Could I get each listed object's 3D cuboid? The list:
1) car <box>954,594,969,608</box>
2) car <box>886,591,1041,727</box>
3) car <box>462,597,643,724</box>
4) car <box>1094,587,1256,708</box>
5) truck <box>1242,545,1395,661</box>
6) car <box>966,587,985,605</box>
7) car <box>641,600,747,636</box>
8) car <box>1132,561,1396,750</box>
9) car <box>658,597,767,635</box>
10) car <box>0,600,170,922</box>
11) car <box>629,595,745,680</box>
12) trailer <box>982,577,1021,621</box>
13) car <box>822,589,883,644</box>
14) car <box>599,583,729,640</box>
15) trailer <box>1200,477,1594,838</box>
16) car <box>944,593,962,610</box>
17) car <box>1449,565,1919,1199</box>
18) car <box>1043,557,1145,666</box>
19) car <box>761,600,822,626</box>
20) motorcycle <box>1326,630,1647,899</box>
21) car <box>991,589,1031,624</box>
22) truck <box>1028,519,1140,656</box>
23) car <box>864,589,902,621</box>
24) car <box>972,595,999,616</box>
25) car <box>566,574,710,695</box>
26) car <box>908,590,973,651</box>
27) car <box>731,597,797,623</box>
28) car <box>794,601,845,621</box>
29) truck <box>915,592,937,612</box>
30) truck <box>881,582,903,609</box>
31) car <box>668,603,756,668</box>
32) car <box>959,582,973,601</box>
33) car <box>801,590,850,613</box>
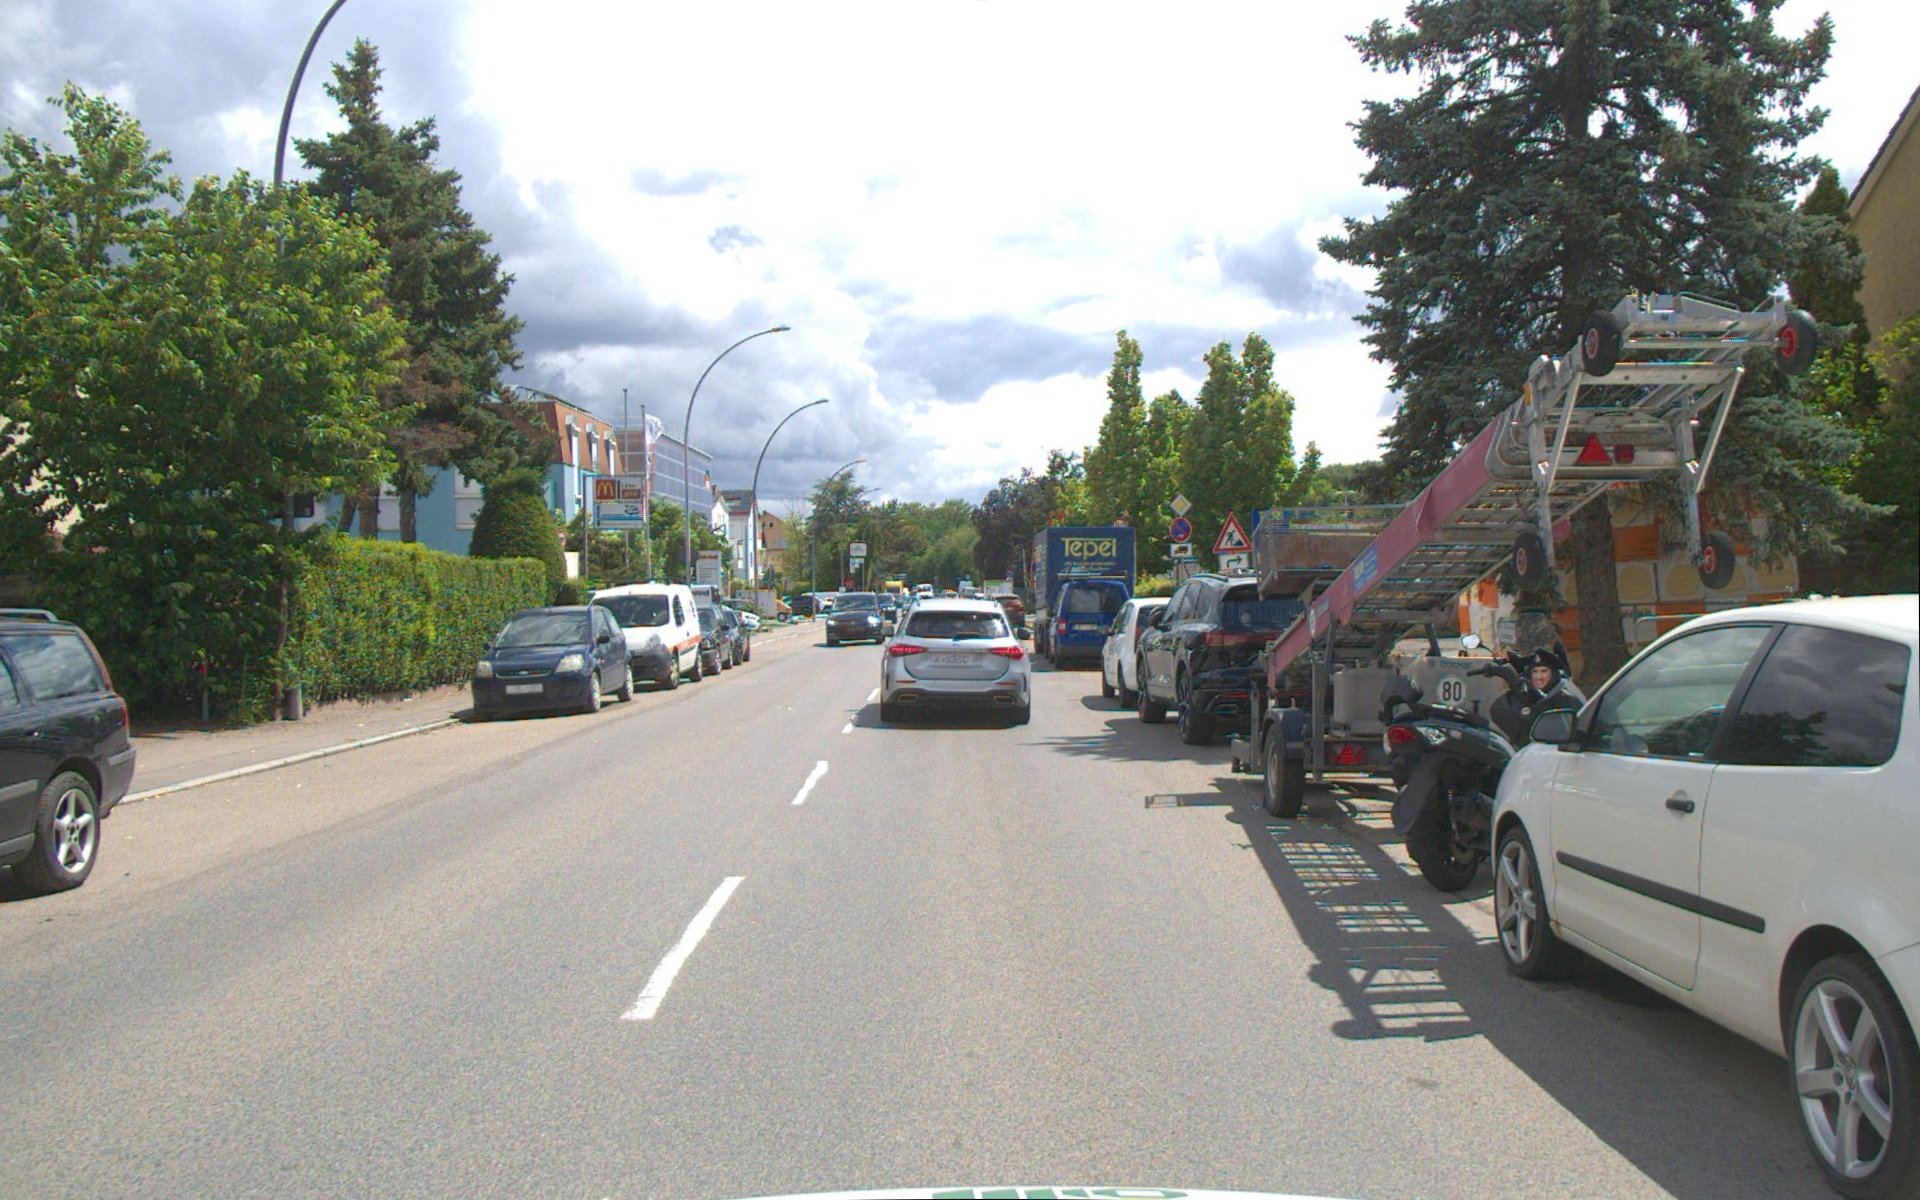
[{"bbox_3d":[0.225,0.175,213.190,1.748,1.745,4.314,0,0,-2],"label":"car"},{"bbox_3d":[-0.040,0.652,20.829,1.748,1.510,4.315,0,1,-2],"label":"car"},{"bbox_3d":[-5.708,0.785,23.626,1.607,1.512,3.999,-4,1,-2],"label":"car"},{"bbox_3d":[3.003,0.608,23.866,1.737,1.534,3.999,-2,1,-1],"label":"car"},{"bbox_3d":[7.374,-0.026,34.585,1.792,2.117,5.385,-4,2,-1],"label":"truck"},{"bbox_3d":[1.774,-0.453,187.999,2.100,2.018,5.261,-1,0,0],"label":"car"},{"bbox_3d":[-10.465,0.710,65.215,3.907,1.338,1.871,-1,0,-2],"label":"car"},{"bbox_3d":[3.168,0.509,18.229,1.836,1.757,4.711,-2,1,-2],"label":"car"},{"bbox_3d":[-10.445,0.685,69.954,4.285,1.504,1.871,-1,-1,0],"label":"car"},{"bbox_3d":[-5.446,0.823,7.363,1.685,1.519,4.734,-2,1,-2],"label":"car"},{"bbox_3d":[-5.687,0.730,34.966,1.709,1.497,4.642,-4,1,-2],"label":"car"},{"bbox_3d":[2.328,-0.065,93.287,1.902,2.334,4.444,-2,0,-2],"label":"trailer"},{"bbox_3d":[-3.385,0.497,52.808,1.708,1.656,4.355,0,1,-1],"label":"car"},{"bbox_3d":[-11.094,0.427,62.297,4.559,2.006,2.114,-1,1,-4],"label":"car"},{"bbox_3d":[3.005,0.330,12.280,1.737,2.182,4.113,-1,1,-1],"label":"trailer"},{"bbox_3d":[-0.704,0.140,169.260,1.720,1.585,3.999,-1,1,-1],"label":"car"},{"bbox_3d":[3.021,0.646,5.455,1.684,1.457,3.984,-3,1,2],"label":"car"},{"bbox_3d":[2.854,0.218,36.122,1.835,2.207,4.464,1,0,0],"label":"car"},{"bbox_3d":[-13.140,0.990,129.136,4.536,1.661,2.196,-4,1,-4],"label":"car"},{"bbox_3d":[2.851,0.815,8.876,1.803,1.231,0.708,-2,1,-36],"label":"motorcycle"},{"bbox_3d":[2.523,0.295,81.893,1.901,1.599,4.447,-2,1,1],"label":"car"},{"bbox_3d":[3.019,-0.320,41.616,2.273,3.151,6.042,1,0,0],"label":"truck"},{"bbox_3d":[-4.262,0.260,92.702,1.953,1.644,4.410,-2,1,-1],"label":"car"},{"bbox_3d":[1.982,0.403,129.211,1.756,1.475,4.361,-2,1,-3],"label":"car"},{"bbox_3d":[-5.623,0.549,29.414,1.709,1.870,4.354,-4,1,-2],"label":"car"},{"bbox_3d":[-0.557,0.533,46.367,1.720,1.585,3.999,-1,1,-1],"label":"car"},{"bbox_3d":[-12.510,0.649,105.675,4.068,1.518,1.824,1,0,-4],"label":"car"},{"bbox_3d":[-12.024,0.944,141.948,4.192,1.594,1.991,-1,-3,0],"label":"car"},{"bbox_3d":[-4.042,0.217,199.292,2.271,2.216,6.450,-2,1,1],"label":"truck"},{"bbox_3d":[-7.613,-0.531,186.231,2.032,2.863,7.078,-2,1,1],"label":"truck"},{"bbox_3d":[-5.941,0.826,39.991,1.598,1.326,4.115,-4,1,-3],"label":"car"},{"bbox_3d":[0.820,-1.087,225.401,1.748,2.562,4.314,0,0,-2],"label":"car"},{"bbox_3d":[-11.925,0.158,147.070,4.193,1.868,1.990,-1,-3,-2],"label":"car"}]
